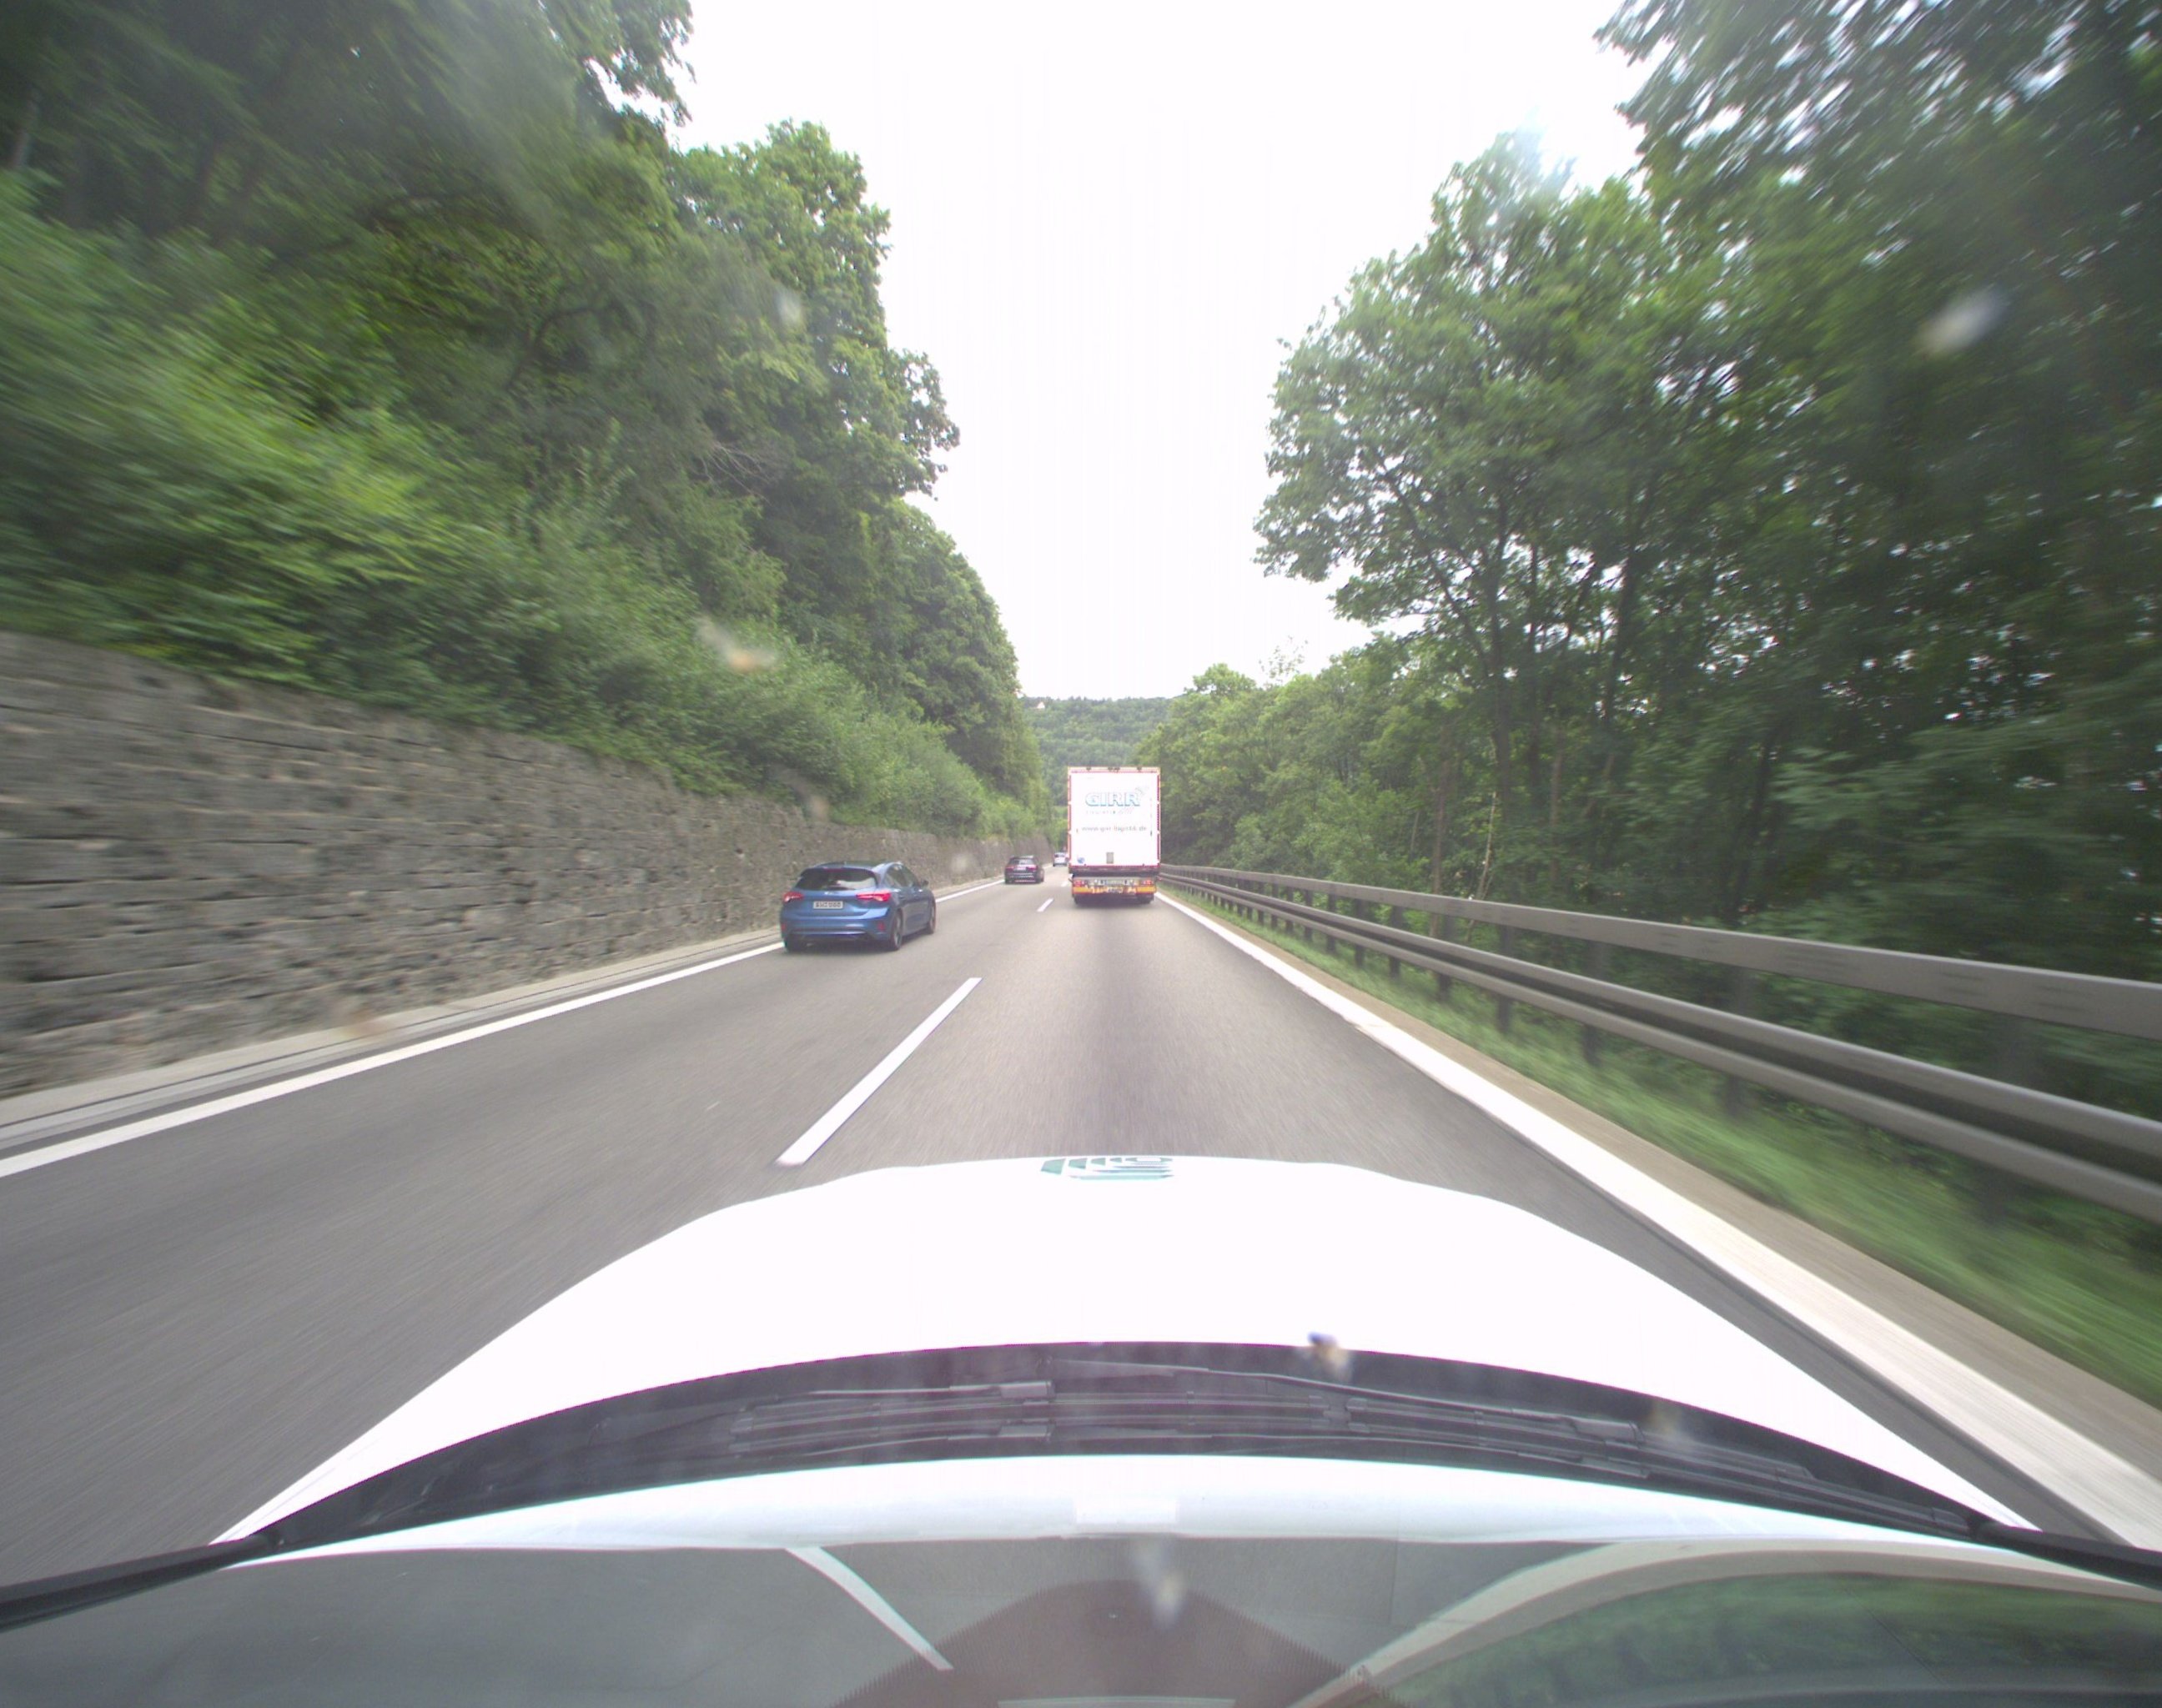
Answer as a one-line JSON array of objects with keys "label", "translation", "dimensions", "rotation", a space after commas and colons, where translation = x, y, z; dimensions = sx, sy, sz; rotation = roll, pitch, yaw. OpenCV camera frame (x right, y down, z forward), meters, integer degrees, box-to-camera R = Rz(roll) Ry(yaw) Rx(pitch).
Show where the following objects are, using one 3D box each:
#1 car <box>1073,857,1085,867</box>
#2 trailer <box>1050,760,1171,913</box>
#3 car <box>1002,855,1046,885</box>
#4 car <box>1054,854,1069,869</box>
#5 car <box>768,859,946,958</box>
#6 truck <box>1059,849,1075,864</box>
[{"label": "car", "translation": [-0.435, 1.646, 163.294], "dimensions": [2.010, 1.914, 5.567], "rotation": [2, 0, 3]}, {"label": "trailer", "translation": [0.802, -0.518, 27.014], "dimensions": [3.123, 4.042, 9.438], "rotation": [3, 0, 0]}, {"label": "car", "translation": [-3.003, 0.829, 43.788], "dimensions": [1.754, 1.463, 5.126], "rotation": [0, 0, 2]}, {"label": "car", "translation": [-2.386, 0.931, 98.669], "dimensions": [1.628, 1.726, 4.345], "rotation": [1, 0, 1]}, {"label": "car", "translation": [-3.730, 0.833, 14.471], "dimensions": [1.829, 1.469, 4.555], "rotation": [0, 0, 1]}, {"label": "truck", "translation": [-2.236, 0.393, 133.491], "dimensions": [2.341, 2.274, 6.848], "rotation": [2, 0, 0]}]
